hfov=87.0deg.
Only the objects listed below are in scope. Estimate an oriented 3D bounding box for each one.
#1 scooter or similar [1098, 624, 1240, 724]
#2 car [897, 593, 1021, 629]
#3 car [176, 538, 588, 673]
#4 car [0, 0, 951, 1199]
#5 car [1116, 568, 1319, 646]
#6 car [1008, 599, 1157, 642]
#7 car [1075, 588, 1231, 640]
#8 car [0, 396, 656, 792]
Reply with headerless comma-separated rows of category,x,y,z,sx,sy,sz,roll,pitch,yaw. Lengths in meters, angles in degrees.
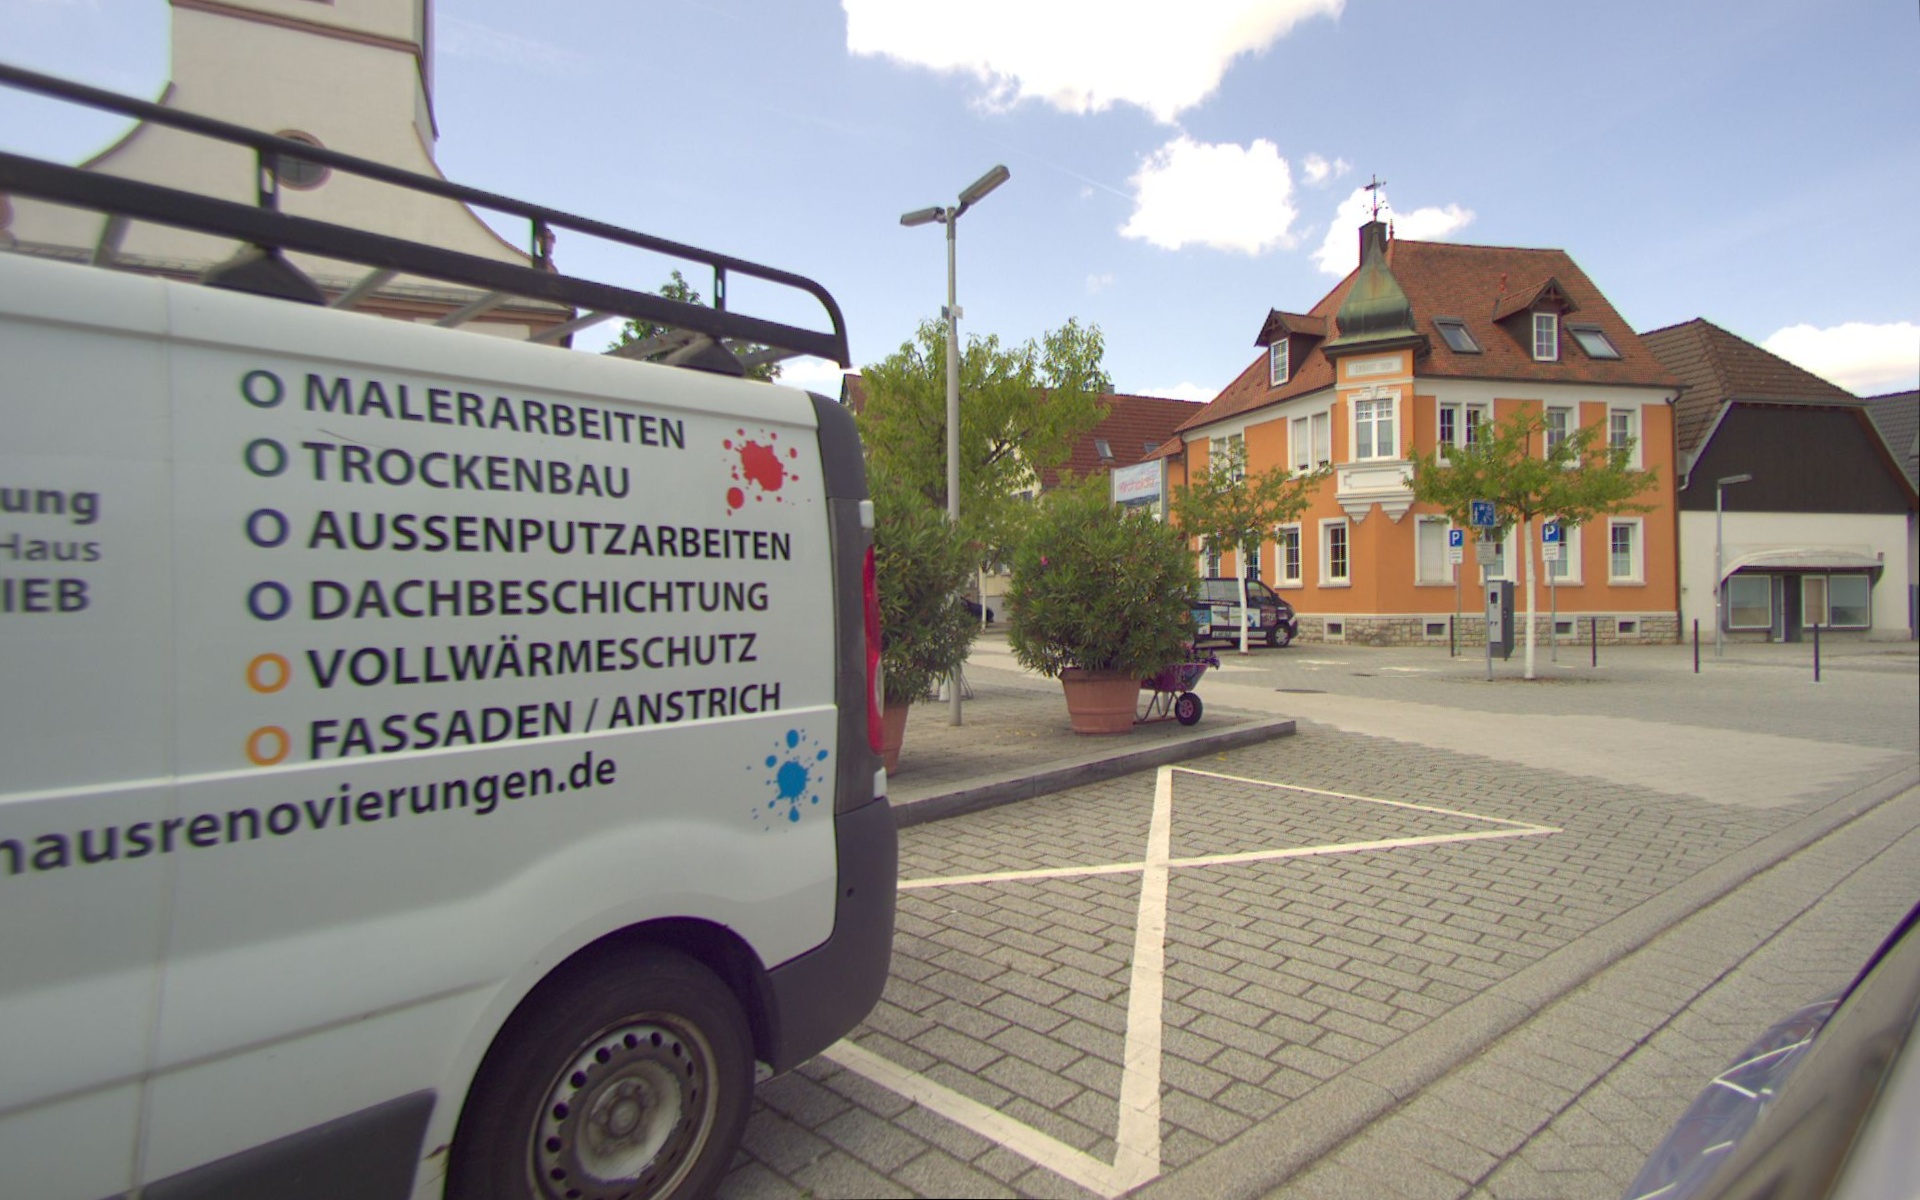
scooter or similar,2.064,0.700,10.070,0.800,0.892,1.145,0,0,-36
car,-0.043,0.469,46.558,5.380,1.592,2.003,0,-1,-24
car,-11.351,0.103,20.321,6.834,2.509,2.653,0,0,1
car,-2.474,0.165,1.478,1.943,2.204,5.019,2,2,44
car,7.188,0.179,28.208,5.380,2.039,2.003,0,-1,-24
car,4.419,0.696,36.458,5.019,1.460,2.003,0,-1,-24
car,5.949,0.400,31.110,4.624,1.503,1.627,0,-1,-24
car,-6.730,-0.042,9.534,6.970,3.001,2.764,-1,-1,-28
